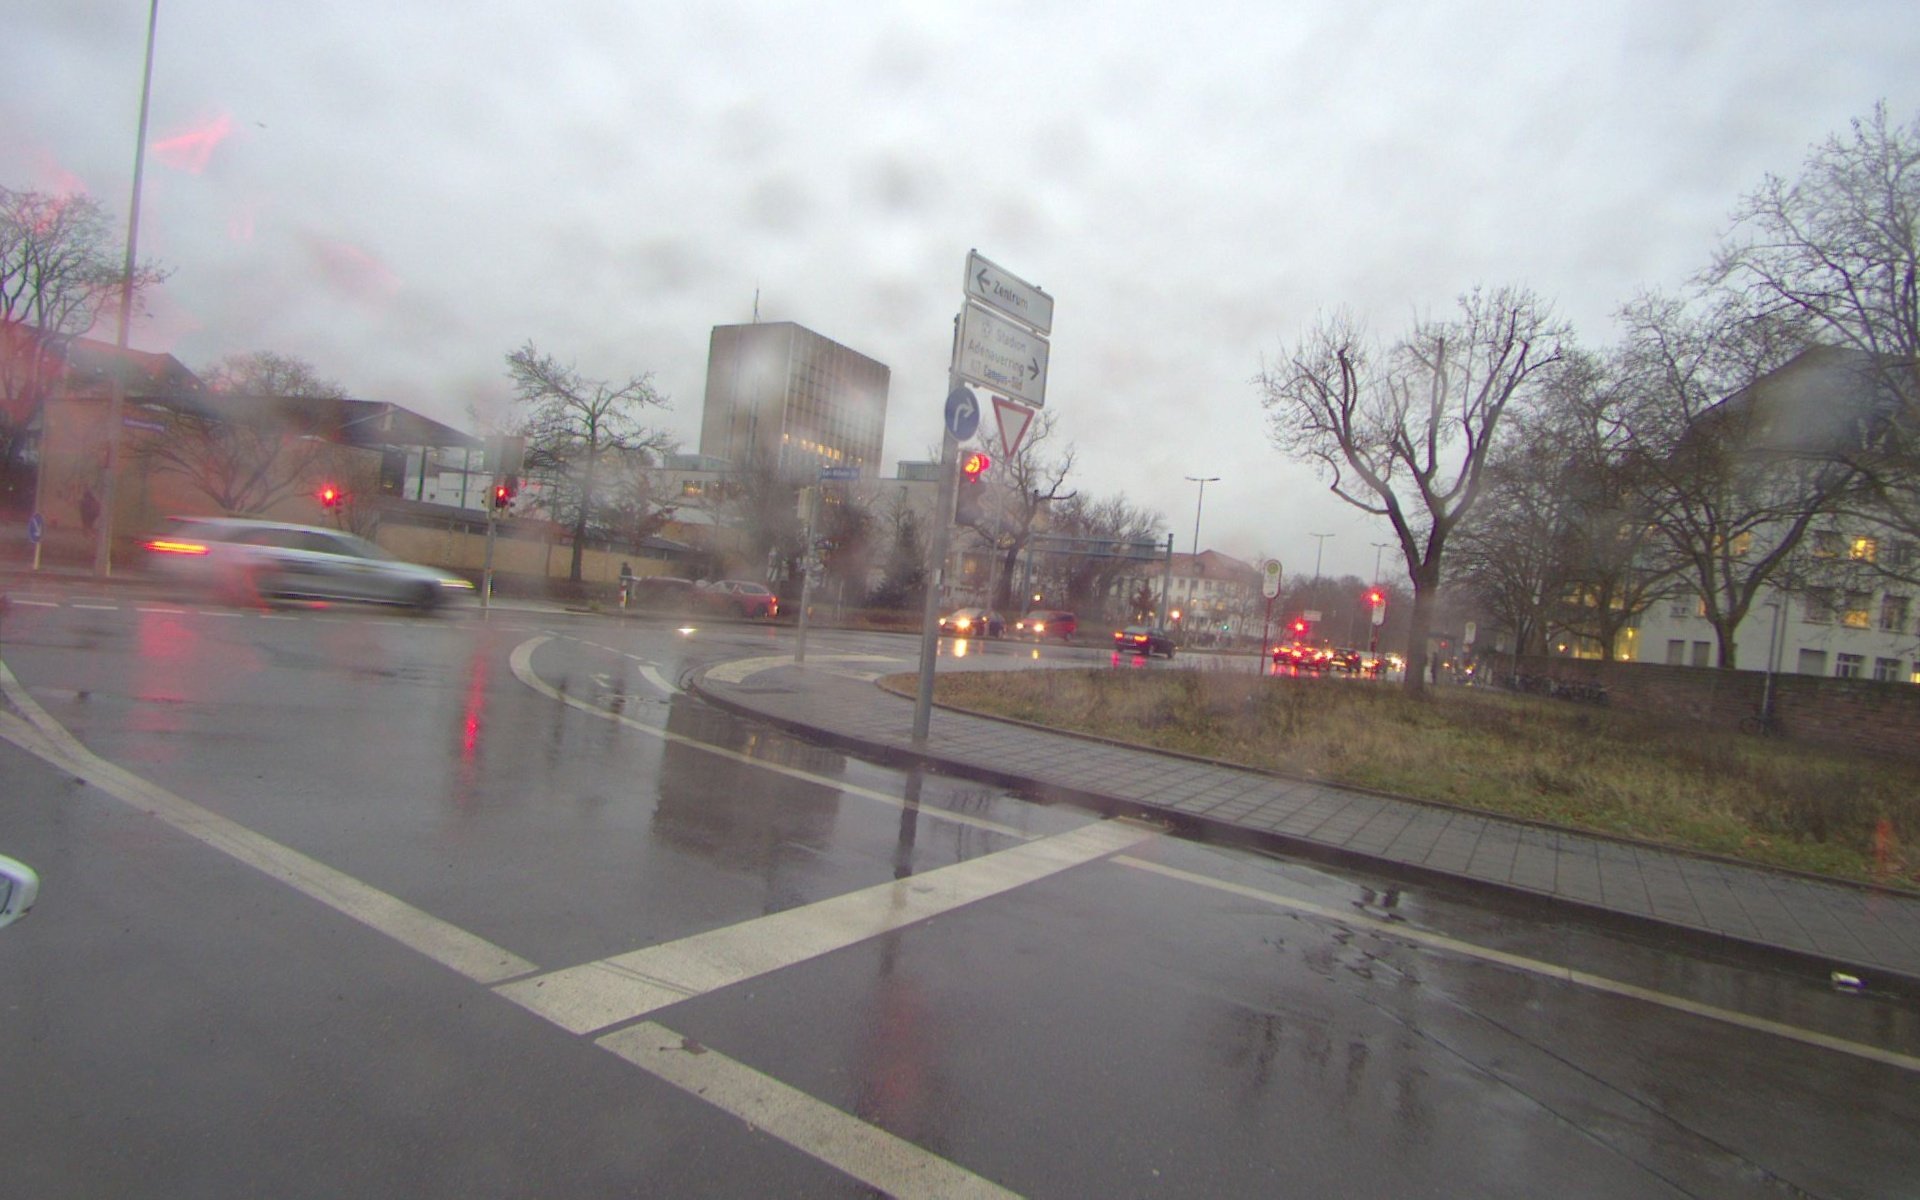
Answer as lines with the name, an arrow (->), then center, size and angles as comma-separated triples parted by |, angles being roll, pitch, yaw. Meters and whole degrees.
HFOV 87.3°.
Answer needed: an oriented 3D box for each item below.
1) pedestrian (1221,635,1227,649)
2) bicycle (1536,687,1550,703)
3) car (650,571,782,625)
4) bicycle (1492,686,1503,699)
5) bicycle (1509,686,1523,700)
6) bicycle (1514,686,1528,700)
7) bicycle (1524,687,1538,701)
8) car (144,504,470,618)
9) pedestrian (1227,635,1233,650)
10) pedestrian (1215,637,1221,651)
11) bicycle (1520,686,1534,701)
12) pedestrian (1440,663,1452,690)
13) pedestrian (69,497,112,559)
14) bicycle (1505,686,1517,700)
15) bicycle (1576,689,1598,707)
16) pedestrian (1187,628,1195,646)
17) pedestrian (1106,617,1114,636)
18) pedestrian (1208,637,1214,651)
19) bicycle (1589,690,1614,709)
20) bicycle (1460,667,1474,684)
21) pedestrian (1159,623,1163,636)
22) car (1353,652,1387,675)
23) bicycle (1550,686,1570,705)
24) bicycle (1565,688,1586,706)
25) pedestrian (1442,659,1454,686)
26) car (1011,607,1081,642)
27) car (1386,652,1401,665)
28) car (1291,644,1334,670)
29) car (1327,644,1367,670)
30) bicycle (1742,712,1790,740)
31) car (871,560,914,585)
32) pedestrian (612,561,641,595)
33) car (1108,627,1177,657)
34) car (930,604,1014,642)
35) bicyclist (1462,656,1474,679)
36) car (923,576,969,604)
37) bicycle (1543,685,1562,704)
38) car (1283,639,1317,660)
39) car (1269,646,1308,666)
pedestrian -> 32.965, 5.249, 125.667 | 0.404, 1.713, 0.561 | 7, 2, 28
bicycle -> 32.411, 5.289, 55.953 | 0.387, 0.795, 1.607 | 7, -2, 22
car -> -8.695, -0.036, 36.231 | 1.784, 1.496, 4.411 | 6, 0, 37
bicycle -> 36.389, 6.246, 68.107 | 0.387, 0.795, 1.532 | 7, -2, 20
bicycle -> 34.348, 5.741, 62.152 | 0.387, 0.795, 1.532 | 7, -2, 20
bicycle -> 33.827, 5.613, 60.664 | 0.387, 0.795, 1.532 | 7, -2, 20
bicycle -> 32.839, 5.403, 57.866 | 0.387, 0.795, 1.532 | 7, -2, 19
car -> -11.970, -0.665, 18.715 | 1.912, 1.571, 4.675 | 6, 0, 41
pedestrian -> 33.270, 5.223, 123.901 | 0.404, 1.713, 0.427 | 7, 2, 28
pedestrian -> 32.034, 5.482, 124.819 | 0.404, 1.713, 0.427 | 7, 2, 28
bicycle -> 33.321, 5.486, 59.145 | 0.387, 0.795, 1.532 | 7, -2, 20
pedestrian -> 30.150, 4.732, 62.418 | 0.462, 1.623, 0.486 | 7, -1, 25
pedestrian -> -32.443, -2.684, 37.532 | 0.881, 2.141, 0.883 | 7, 2, 33
bicycle -> 34.849, 5.865, 63.626 | 0.387, 0.795, 1.532 | 7, -2, 20
bicycle -> 30.547, 4.768, 49.000 | 0.387, 0.795, 1.533 | 7, -2, 14
pedestrian -> 23.328, 3.767, 101.618 | 0.411, 1.725, 0.430 | 8, 3, 44
pedestrian -> 14.350, 2.558, 96.216 | 0.411, 1.725, 0.430 | 8, 3, 44
pedestrian -> 31.810, 5.596, 127.433 | 0.404, 1.713, 0.427 | 7, 2, 28
bicycle -> 30.274, 4.672, 47.476 | 0.352, 0.795, 1.415 | 7, -2, 8
bicycle -> 39.152, 5.847, 77.735 | 0.599, 1.181, 1.682 | 7, -2, 19
pedestrian -> 21.154, 3.093, 105.898 | 0.258, 1.364, 0.289 | 8, 2, 31
car -> 34.267, 5.286, 84.018 | 1.811, 1.710, 4.311 | 6, 0, 32
bicycle -> 31.355, 4.979, 52.556 | 0.387, 0.868, 1.532 | 7, -2, 15
bicycle -> 31.037, 4.875, 50.744 | 0.343, 0.848, 1.493 | 7, -2, 13
pedestrian -> 36.930, 5.478, 76.126 | 0.557, 2.040, 0.595 | 8, 2, 33
car -> 5.658, 1.630, 65.463 | 2.016, 1.903, 5.320 | 6, 0, 35
car -> 69.832, 9.379, 161.987 | 1.834, 1.783, 3.993 | 7, 1, 27
car -> 24.865, 4.017, 70.935 | 1.811, 1.602, 4.126 | 6, 0, 33
car -> 29.808, 4.419, 77.431 | 1.812, 1.710, 4.311 | 6, -1, 34
bicycle -> 28.201, 4.399, 35.225 | 0.387, 0.834, 1.386 | 7, -2, -4
car -> -7.132, -2.919, 106.412 | 2.014, 2.102, 4.892 | 6, 0, 30
pedestrian -> -16.771, -1.101, 50.551 | 0.781, 1.624, 0.962 | 8, 2, 33
car -> 9.731, 2.244, 53.333 | 1.907, 1.318, 4.686 | 6, 0, 33
car -> 0.621, 1.141, 49.453 | 1.784, 1.496, 4.411 | 6, 0, 36
bicyclist -> 39.236, 5.215, 77.750 | 0.599, 1.660, 0.453 | 7, -1, 19
car -> -1.419, -0.998, 103.123 | 2.014, 2.452, 5.326 | 6, 0, 30
bicycle -> 31.840, 5.074, 54.087 | 0.387, 0.927, 1.532 | 7, -2, 15
car -> 30.015, 4.396, 88.732 | 1.811, 1.602, 4.127 | 6, 0, 32
car -> 24.761, 4.220, 75.734 | 1.674, 1.318, 3.755 | 6, 0, 35
